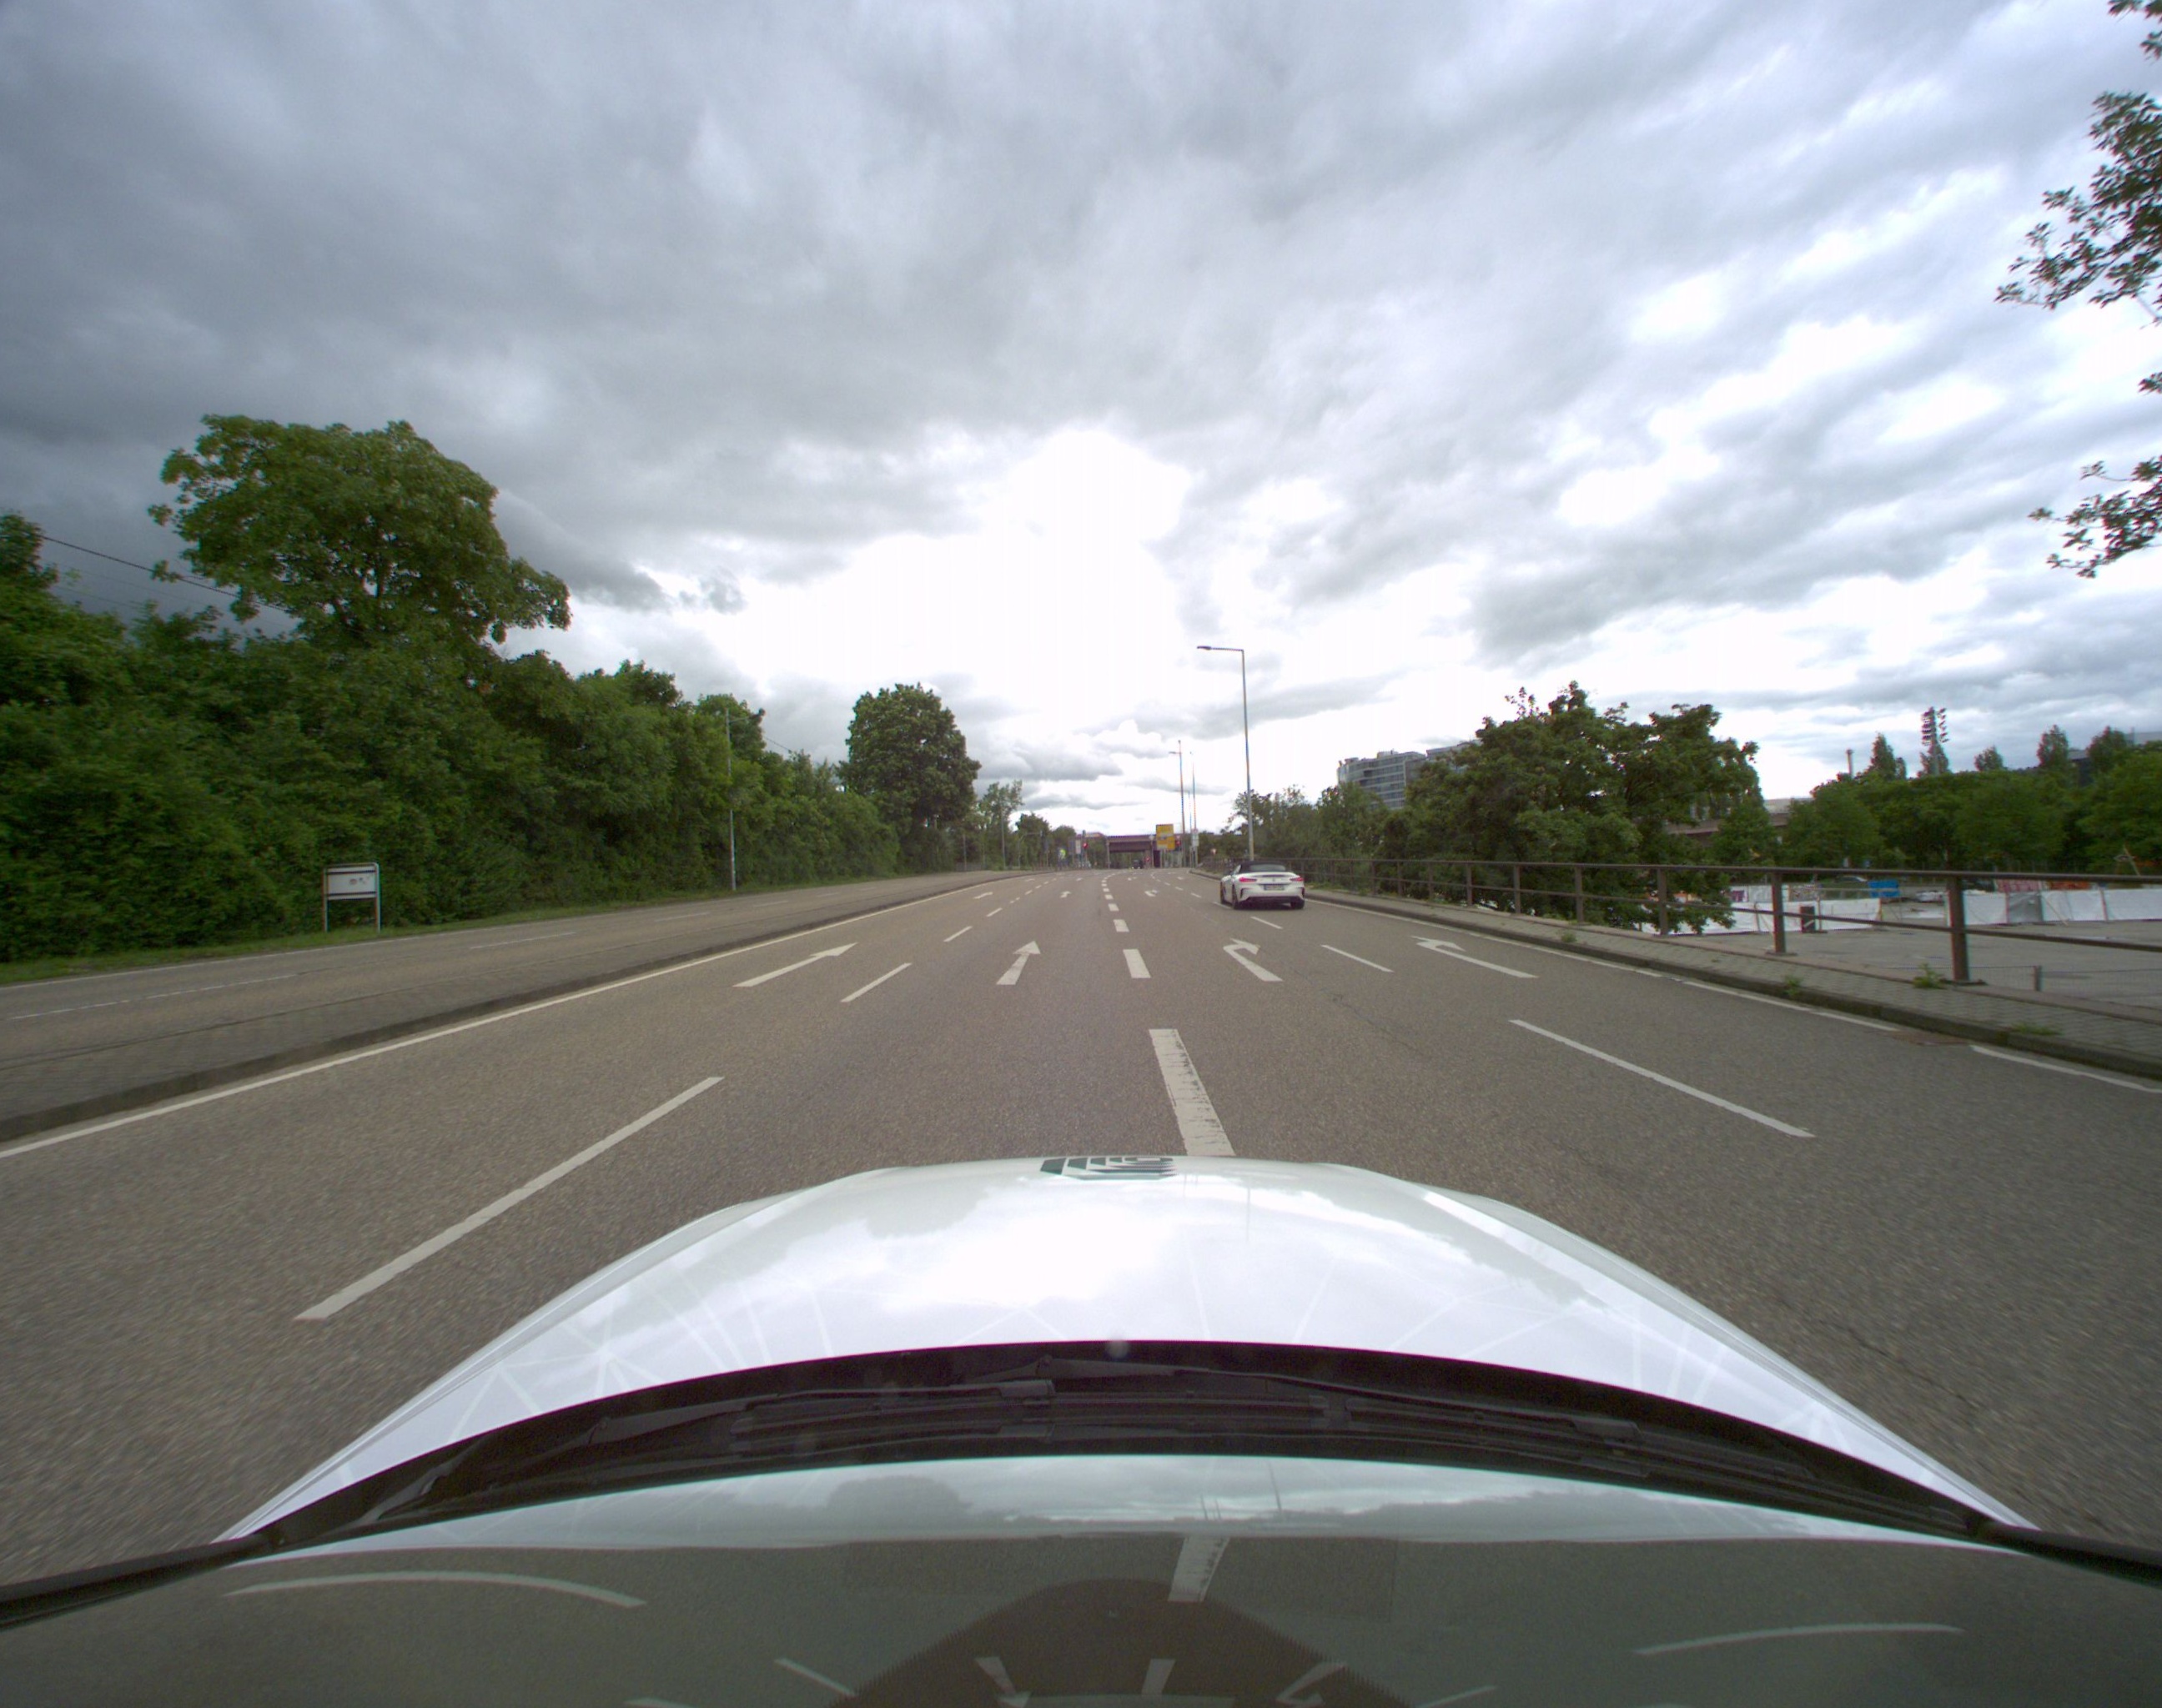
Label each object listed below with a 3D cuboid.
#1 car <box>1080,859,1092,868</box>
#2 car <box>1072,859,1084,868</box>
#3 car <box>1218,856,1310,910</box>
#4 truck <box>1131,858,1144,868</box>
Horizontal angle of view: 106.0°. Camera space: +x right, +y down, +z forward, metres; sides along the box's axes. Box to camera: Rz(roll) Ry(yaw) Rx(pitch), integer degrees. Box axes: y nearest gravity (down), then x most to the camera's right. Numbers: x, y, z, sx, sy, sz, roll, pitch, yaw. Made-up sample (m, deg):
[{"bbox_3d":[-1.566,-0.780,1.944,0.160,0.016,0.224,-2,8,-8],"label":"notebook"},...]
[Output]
[{"bbox_3d":[0.930,1.696,148.668,1.763,1.633,3.829,0,-1,4],"label":"car"},{"bbox_3d":[-0.561,1.634,139.147,1.763,1.645,3.829,0,-1,4],"label":"car"},{"bbox_3d":[5.029,0.744,22.839,1.867,1.309,3.876,1,1,3],"label":"car"},{"bbox_3d":[18.182,3.040,261.096,2.904,3.146,10.144,0,-1,12],"label":"truck"}]
